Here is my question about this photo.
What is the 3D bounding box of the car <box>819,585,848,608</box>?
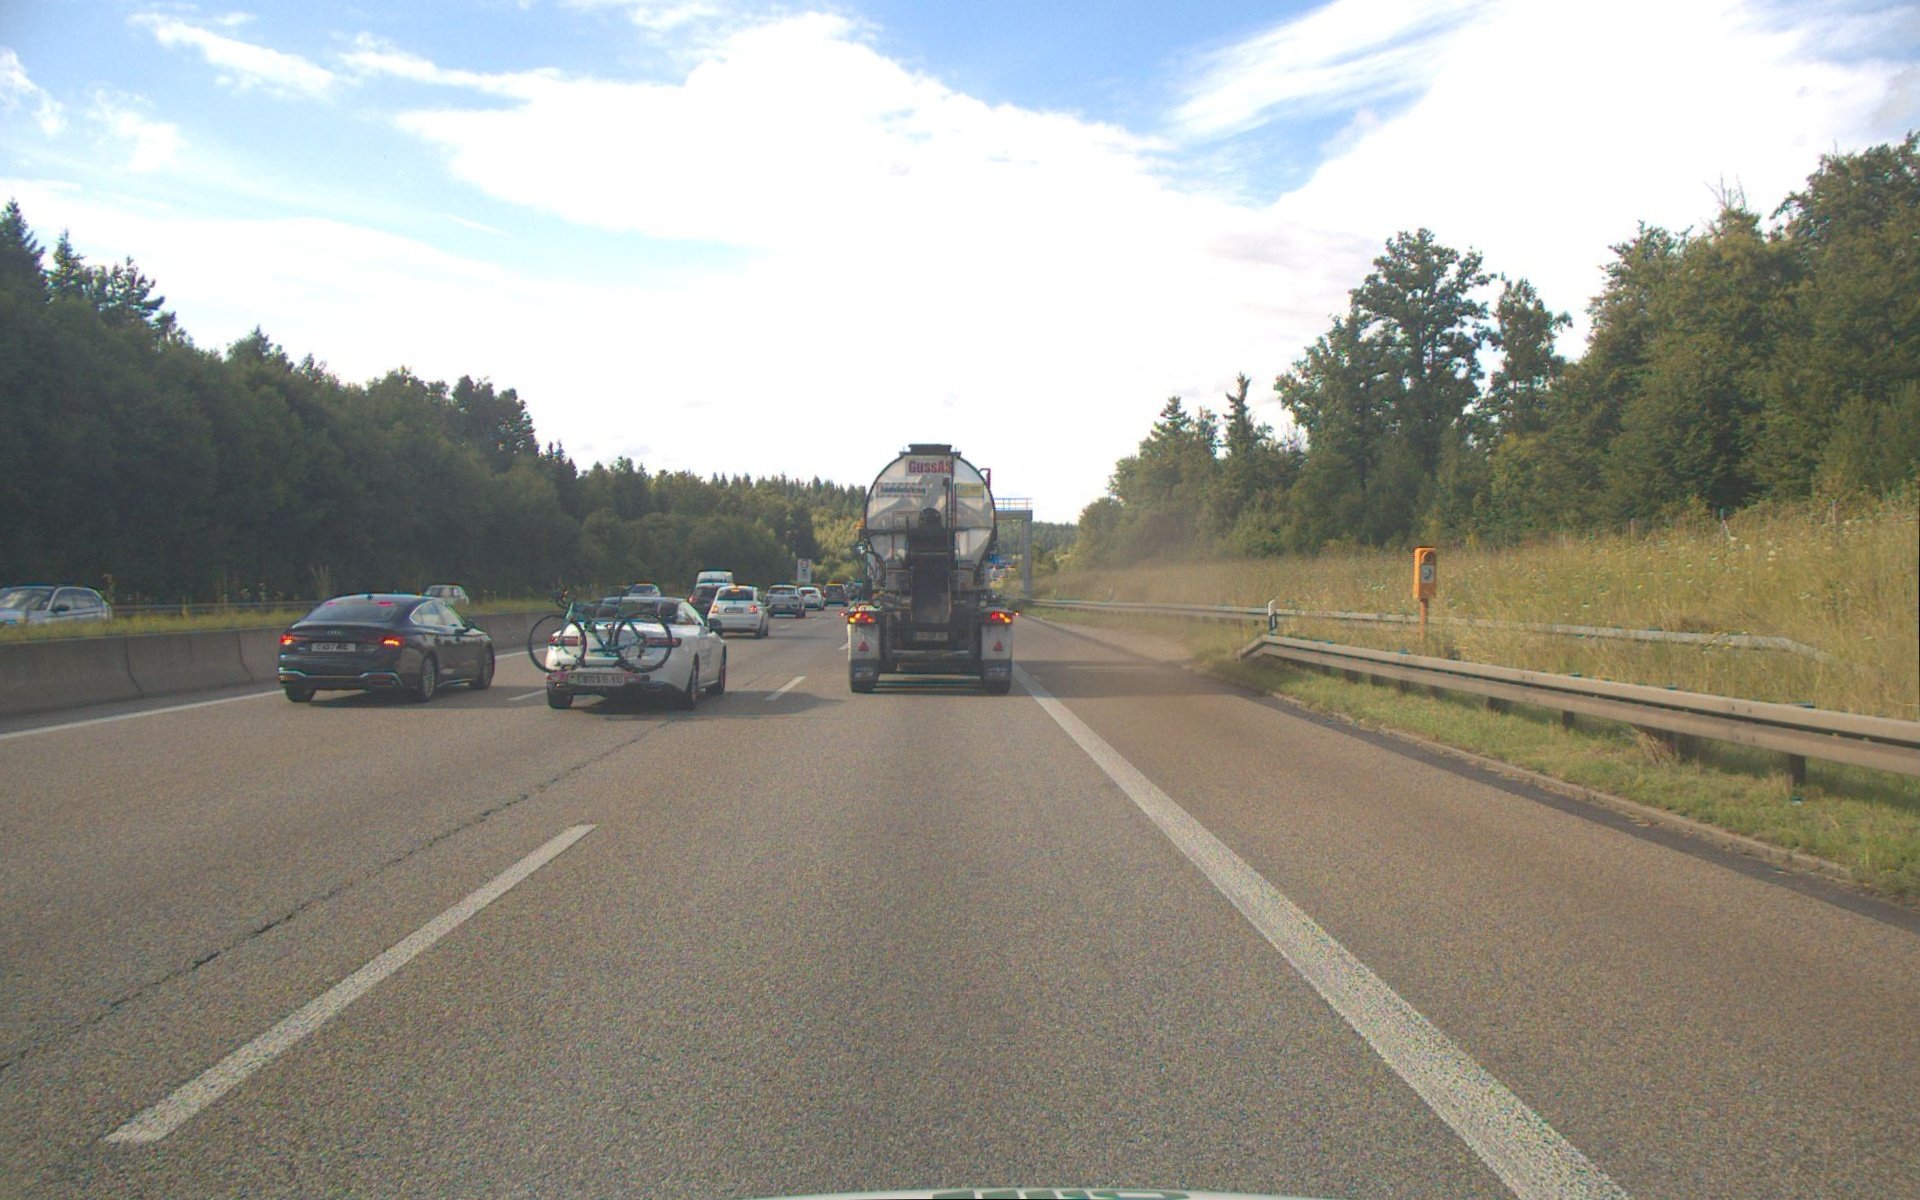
[{"bbox_3d":[-9.293,-0.264,122.014,1.903,1.613,4.206,1,1,-1],"label":"car"}]

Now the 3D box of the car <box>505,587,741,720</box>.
[{"bbox_3d":[-4.243,0.596,21.841,2.018,1.525,5.735,0,0,-1],"label":"car"}]

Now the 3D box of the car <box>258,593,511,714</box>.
[{"bbox_3d":[-7.684,0.648,22.607,1.818,1.456,4.840,0,0,-1],"label":"car"}]

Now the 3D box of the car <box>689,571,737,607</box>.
[{"bbox_3d":[-17.118,-0.765,114.731,2.526,2.387,5.828,0,0,-1],"label":"car"}]

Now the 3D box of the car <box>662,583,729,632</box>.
[{"bbox_3d":[-9.305,0.230,58.427,1.770,1.613,4.206,1,1,-1],"label":"car"}]

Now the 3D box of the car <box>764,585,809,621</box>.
[{"bbox_3d":[-8.286,0.123,79.302,1.770,1.613,4.206,1,1,-1],"label":"car"}]

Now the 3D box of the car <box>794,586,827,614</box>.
[{"bbox_3d":[-9.278,-0.009,103.023,1.770,1.613,4.206,1,1,-1],"label":"car"}]

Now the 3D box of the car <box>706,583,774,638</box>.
[{"bbox_3d":[-6.511,0.298,49.223,1.585,1.571,3.519,1,0,-1],"label":"car"}]

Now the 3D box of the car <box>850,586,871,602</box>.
[{"bbox_3d":[-9.951,-0.587,165.102,1.903,1.482,4.206,1,1,-1],"label":"car"}]

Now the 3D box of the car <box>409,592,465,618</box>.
[{"bbox_3d":[-23.484,0.210,74.414,1.559,1.113,3.172,0,0,-1],"label":"car"}]

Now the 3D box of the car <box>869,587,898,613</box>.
[{"bbox_3d":[-5.328,-0.013,115.036,1.903,1.683,4.206,1,1,-1],"label":"car"}]

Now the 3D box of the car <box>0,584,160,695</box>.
[{"bbox_3d":[-19.807,0.752,35.402,2.526,2.176,5.965,0,0,-1],"label":"car"}]

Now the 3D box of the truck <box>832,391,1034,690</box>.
[{"bbox_3d":[-0.442,-0.890,29.048,2.853,4.230,11.268,0,0,-1],"label":"truck"}]
